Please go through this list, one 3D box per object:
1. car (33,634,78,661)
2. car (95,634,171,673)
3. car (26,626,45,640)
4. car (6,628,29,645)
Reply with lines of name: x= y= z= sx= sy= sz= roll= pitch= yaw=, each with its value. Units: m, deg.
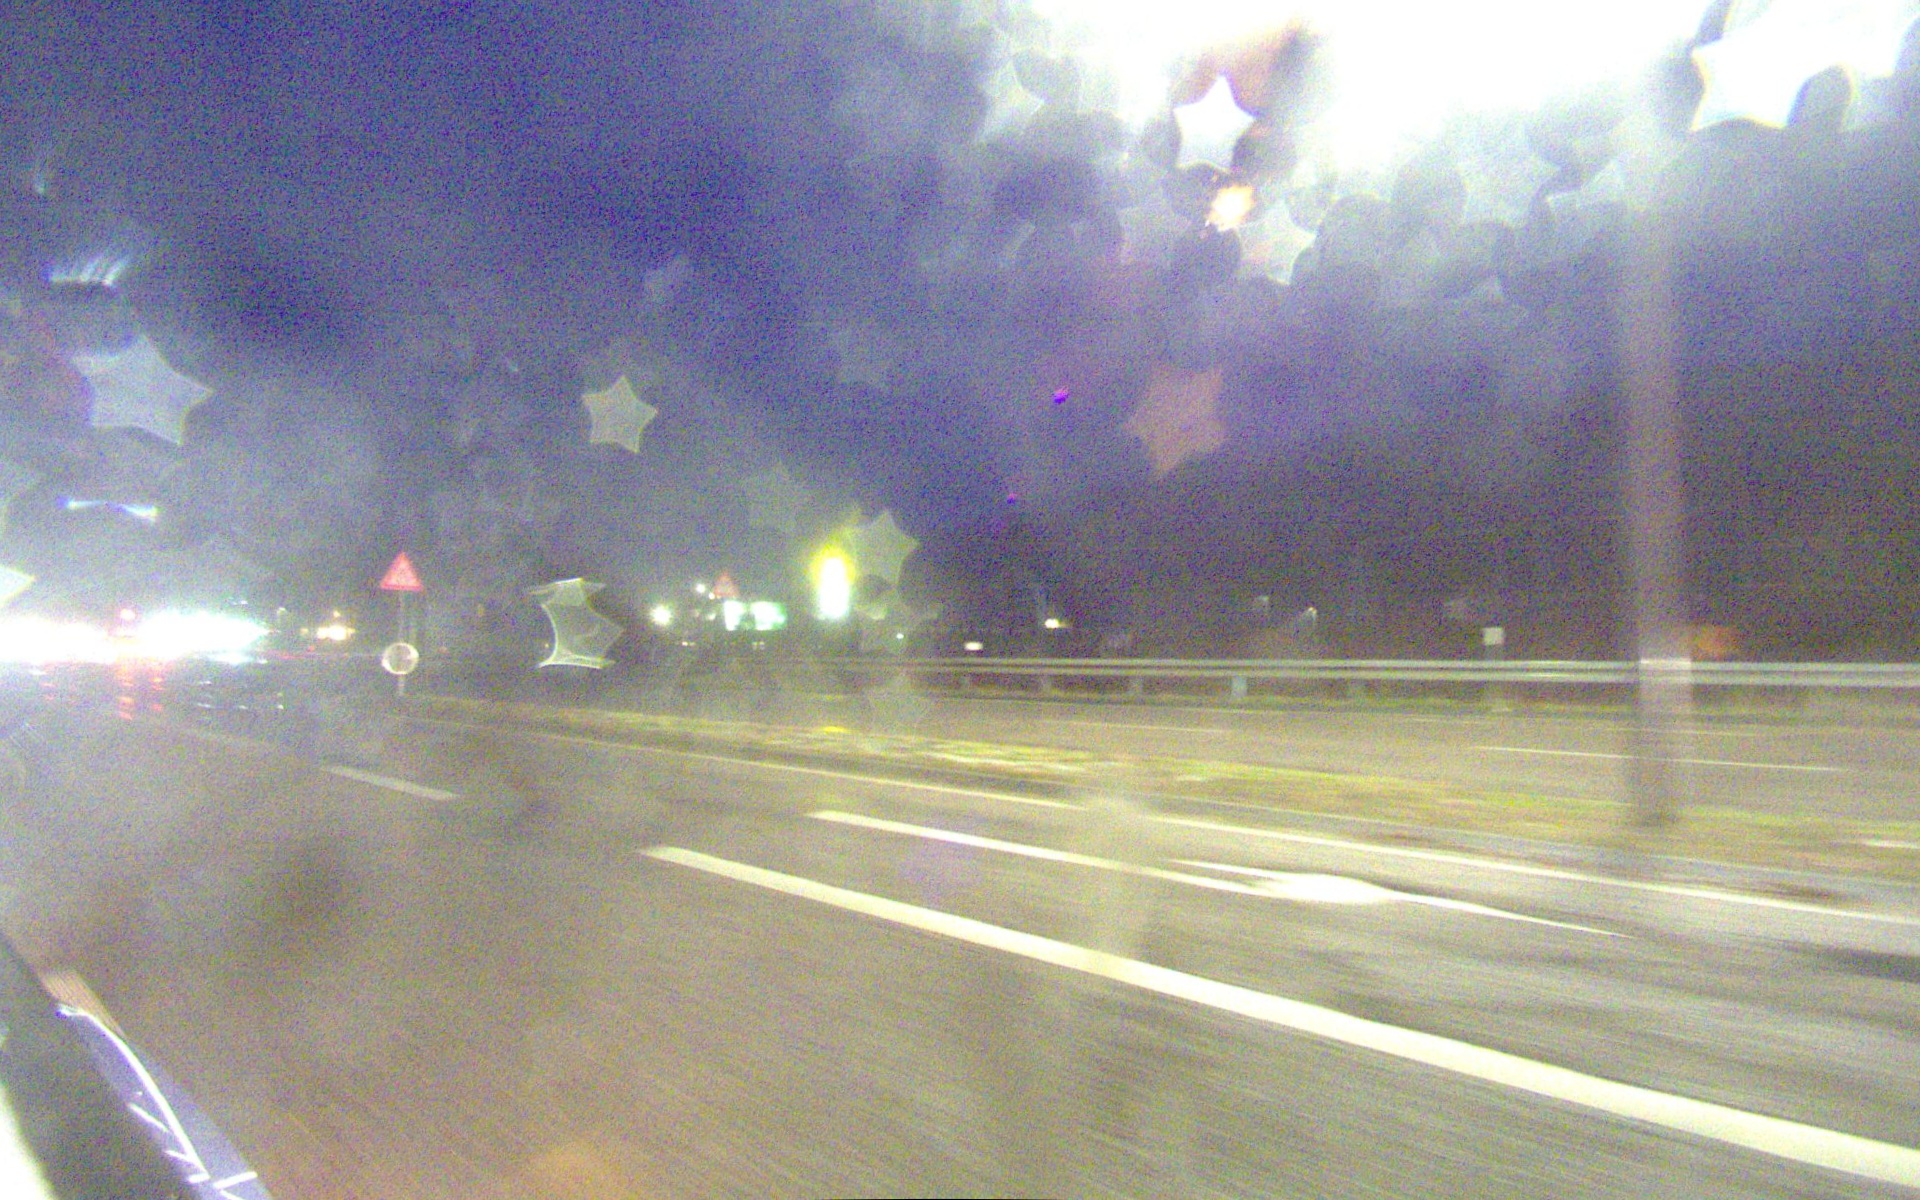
car: x=-55.814 y=2.903 z=62.411 sx=4.206 sy=1.435 sz=1.783 roll=0 pitch=0 yaw=44
car: x=-41.000 y=2.602 z=50.125 sx=4.574 sy=1.713 sz=2.068 roll=0 pitch=0 yaw=39
car: x=-139.462 y=5.012 z=152.720 sx=1.969 sy=2.029 sz=4.006 roll=0 pitch=0 yaw=-40
car: x=-123.666 y=4.777 z=132.807 sx=1.968 sy=2.029 sz=4.007 roll=0 pitch=0 yaw=-39
